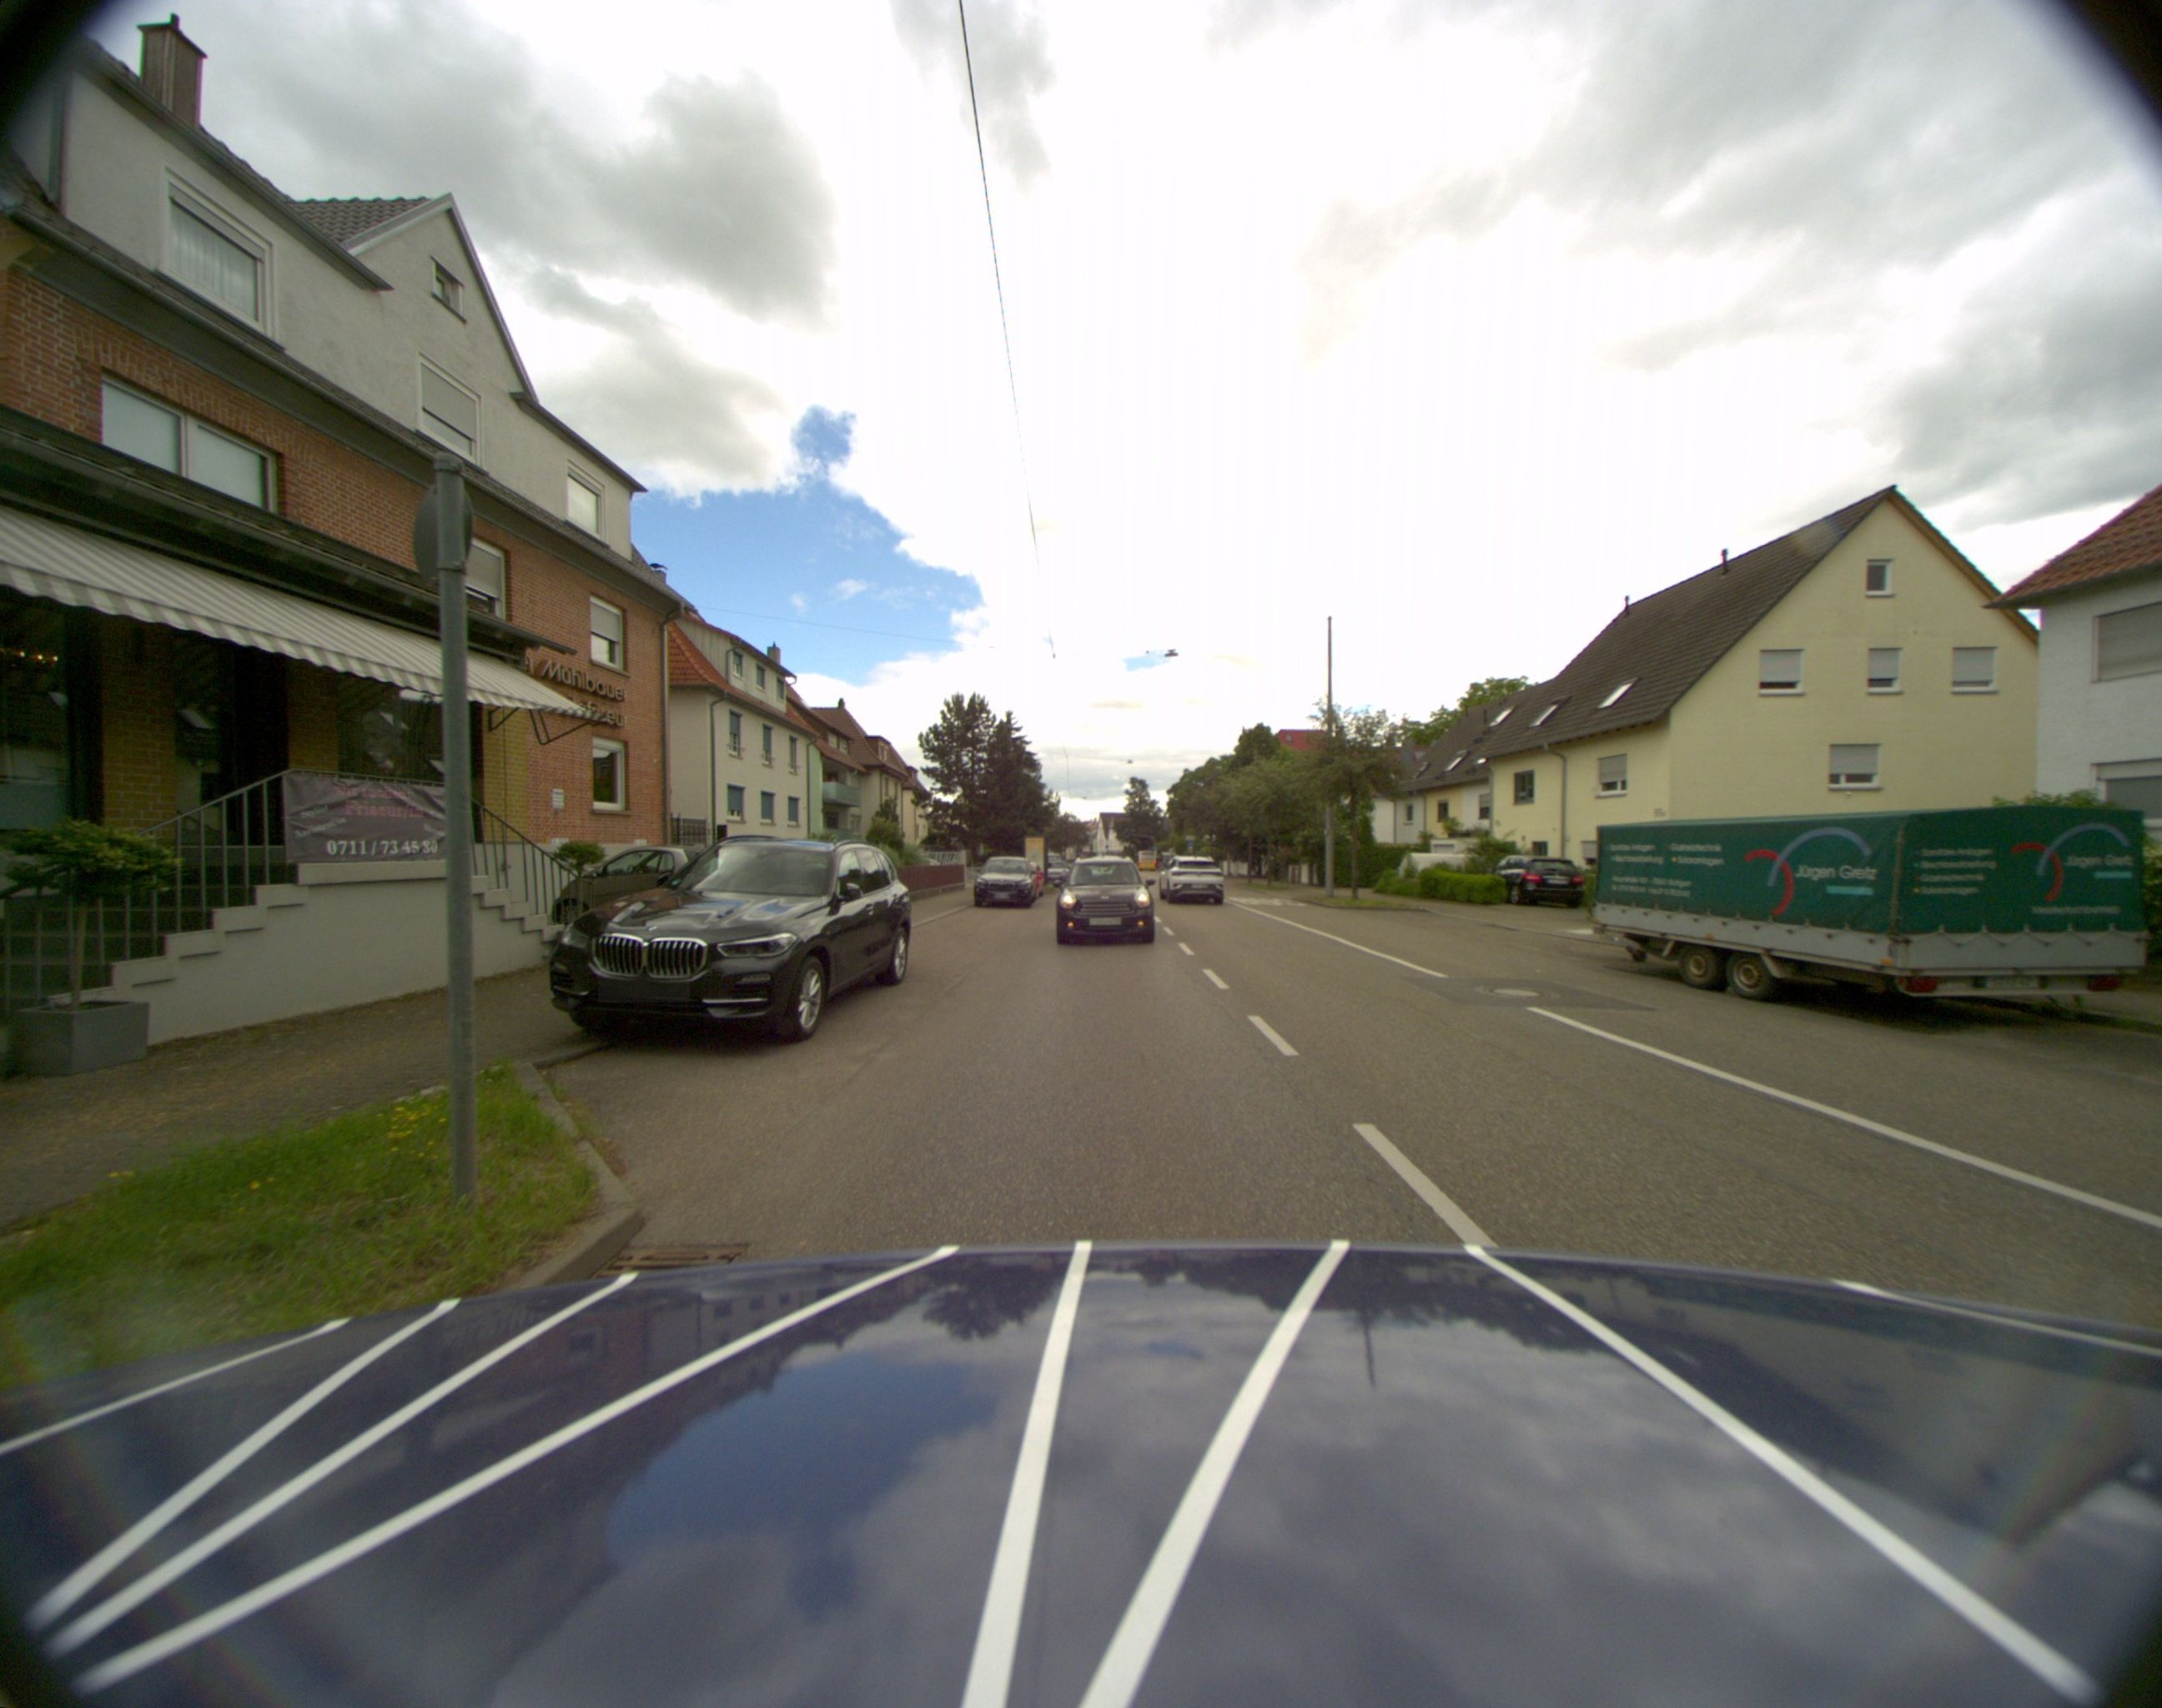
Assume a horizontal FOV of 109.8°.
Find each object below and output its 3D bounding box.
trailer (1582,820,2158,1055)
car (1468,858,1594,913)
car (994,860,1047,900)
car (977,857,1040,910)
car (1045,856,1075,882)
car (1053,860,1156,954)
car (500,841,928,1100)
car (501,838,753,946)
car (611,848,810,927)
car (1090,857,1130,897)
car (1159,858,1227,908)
[{"bbox_3d":[8.412,0.738,8.910,2.160,2.076,4.425,0,0,0],"label":"trailer"},{"bbox_3d":[13.985,0.915,23.881,1.752,1.513,3.916,2,0,3],"label":"car"},{"bbox_3d":[-2.304,0.973,29.821,1.680,1.414,3.685,0,0,2],"label":"car"},{"bbox_3d":[-2.336,0.910,25.302,1.728,1.582,4.156,1,0,-1],"label":"car"},{"bbox_3d":[-1.315,0.919,48.635,1.680,1.573,3.685,0,0,2],"label":"car"},{"bbox_3d":[0.455,0.909,14.790,1.743,1.573,3.685,0,0,2],"label":"car"},{"bbox_3d":[-3.149,0.835,7.925,1.902,1.826,4.915,1,0,2],"label":"car"},{"bbox_3d":[-7.792,0.638,13.278,3.361,1.624,1.579,3,0,-4],"label":"car"},{"bbox_3d":[-7.794,0.690,16.269,3.362,1.450,1.748,3,0,-6],"label":"car"},{"bbox_3d":[1.199,0.922,32.277,1.590,1.598,3.685,0,0,2],"label":"car"},{"bbox_3d":[3.843,0.932,26.642,1.825,1.594,4.299,0,0,1],"label":"car"}]
